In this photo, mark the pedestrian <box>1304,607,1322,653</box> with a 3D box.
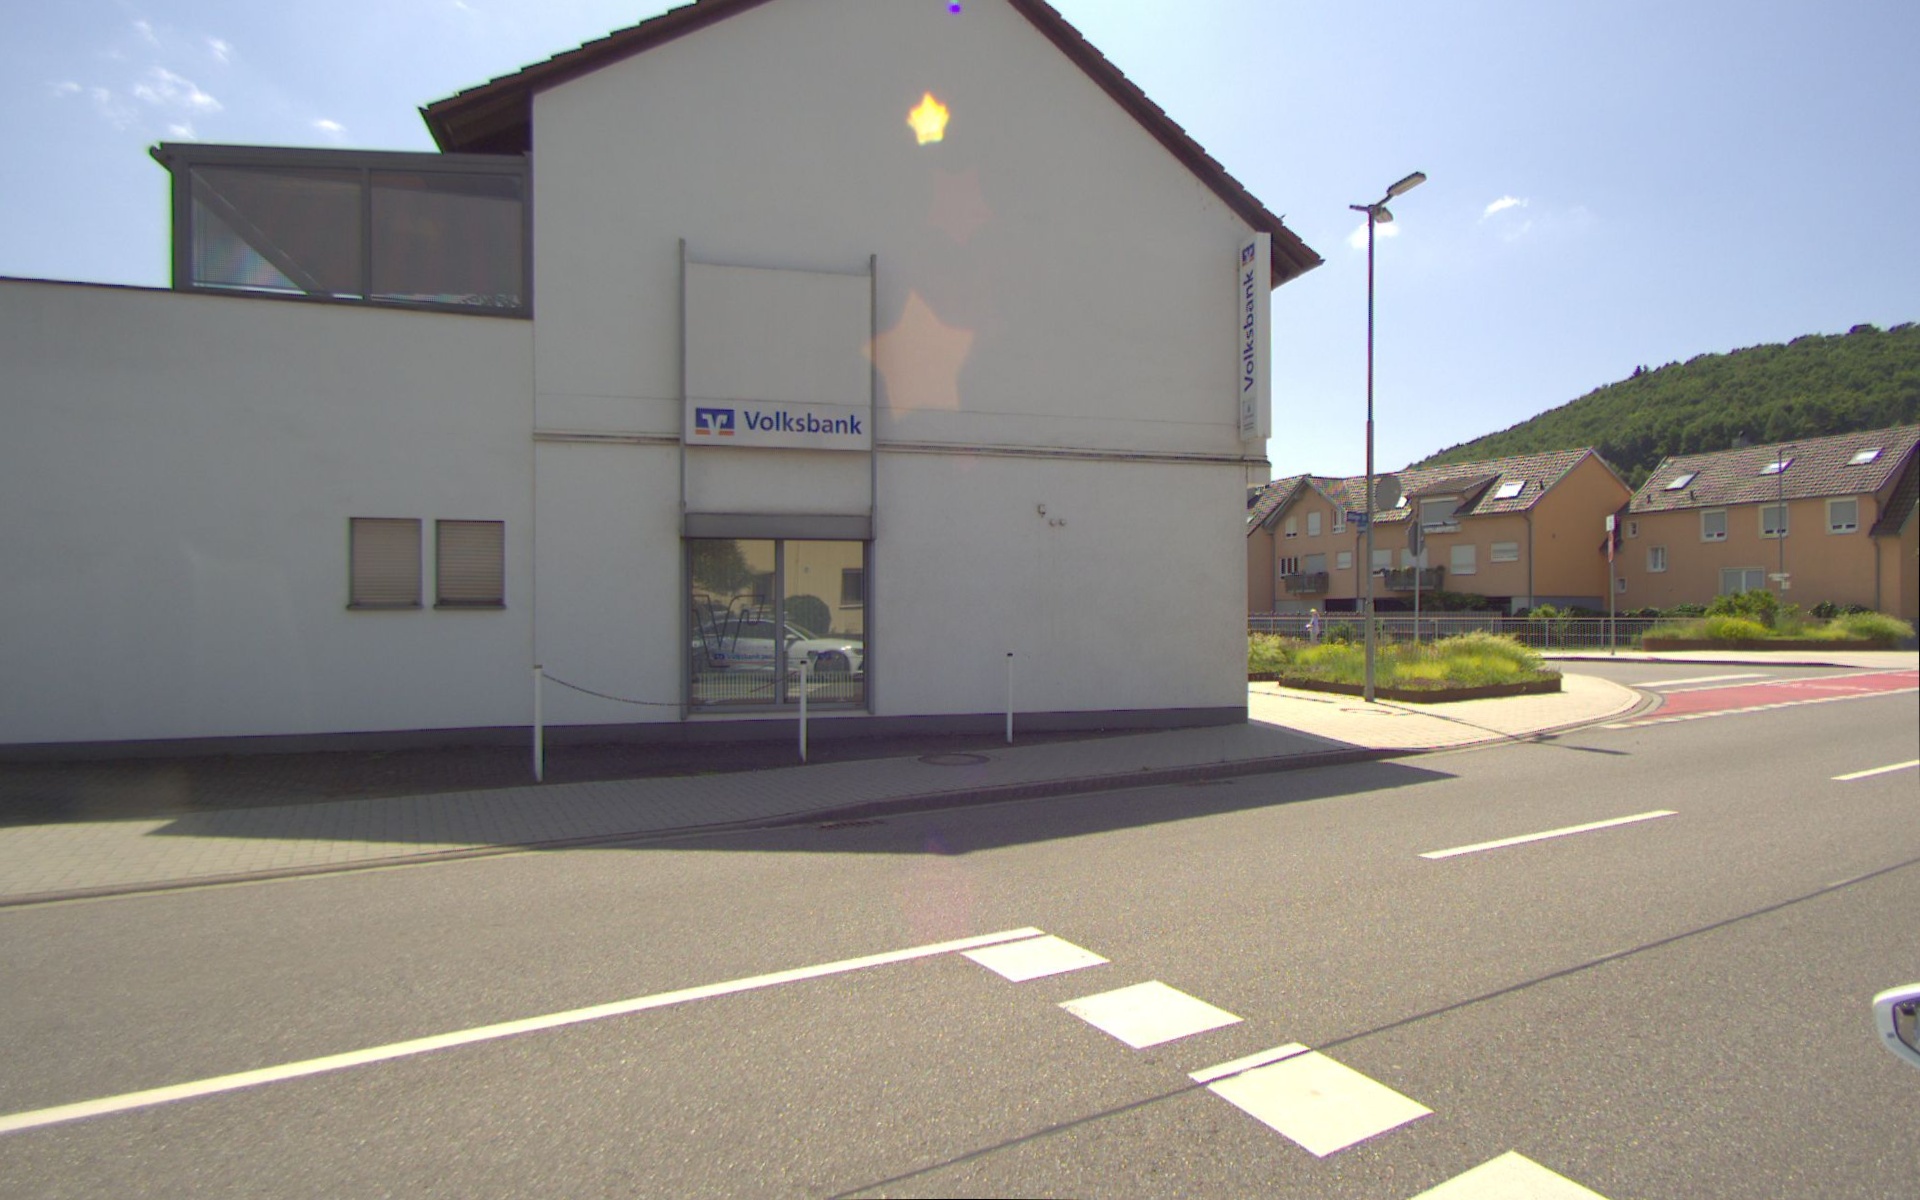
[{"bbox_3d":[13.633,1.148,38.807,0.603,1.772,0.506,0,0,23],"label":"pedestrian"}]
